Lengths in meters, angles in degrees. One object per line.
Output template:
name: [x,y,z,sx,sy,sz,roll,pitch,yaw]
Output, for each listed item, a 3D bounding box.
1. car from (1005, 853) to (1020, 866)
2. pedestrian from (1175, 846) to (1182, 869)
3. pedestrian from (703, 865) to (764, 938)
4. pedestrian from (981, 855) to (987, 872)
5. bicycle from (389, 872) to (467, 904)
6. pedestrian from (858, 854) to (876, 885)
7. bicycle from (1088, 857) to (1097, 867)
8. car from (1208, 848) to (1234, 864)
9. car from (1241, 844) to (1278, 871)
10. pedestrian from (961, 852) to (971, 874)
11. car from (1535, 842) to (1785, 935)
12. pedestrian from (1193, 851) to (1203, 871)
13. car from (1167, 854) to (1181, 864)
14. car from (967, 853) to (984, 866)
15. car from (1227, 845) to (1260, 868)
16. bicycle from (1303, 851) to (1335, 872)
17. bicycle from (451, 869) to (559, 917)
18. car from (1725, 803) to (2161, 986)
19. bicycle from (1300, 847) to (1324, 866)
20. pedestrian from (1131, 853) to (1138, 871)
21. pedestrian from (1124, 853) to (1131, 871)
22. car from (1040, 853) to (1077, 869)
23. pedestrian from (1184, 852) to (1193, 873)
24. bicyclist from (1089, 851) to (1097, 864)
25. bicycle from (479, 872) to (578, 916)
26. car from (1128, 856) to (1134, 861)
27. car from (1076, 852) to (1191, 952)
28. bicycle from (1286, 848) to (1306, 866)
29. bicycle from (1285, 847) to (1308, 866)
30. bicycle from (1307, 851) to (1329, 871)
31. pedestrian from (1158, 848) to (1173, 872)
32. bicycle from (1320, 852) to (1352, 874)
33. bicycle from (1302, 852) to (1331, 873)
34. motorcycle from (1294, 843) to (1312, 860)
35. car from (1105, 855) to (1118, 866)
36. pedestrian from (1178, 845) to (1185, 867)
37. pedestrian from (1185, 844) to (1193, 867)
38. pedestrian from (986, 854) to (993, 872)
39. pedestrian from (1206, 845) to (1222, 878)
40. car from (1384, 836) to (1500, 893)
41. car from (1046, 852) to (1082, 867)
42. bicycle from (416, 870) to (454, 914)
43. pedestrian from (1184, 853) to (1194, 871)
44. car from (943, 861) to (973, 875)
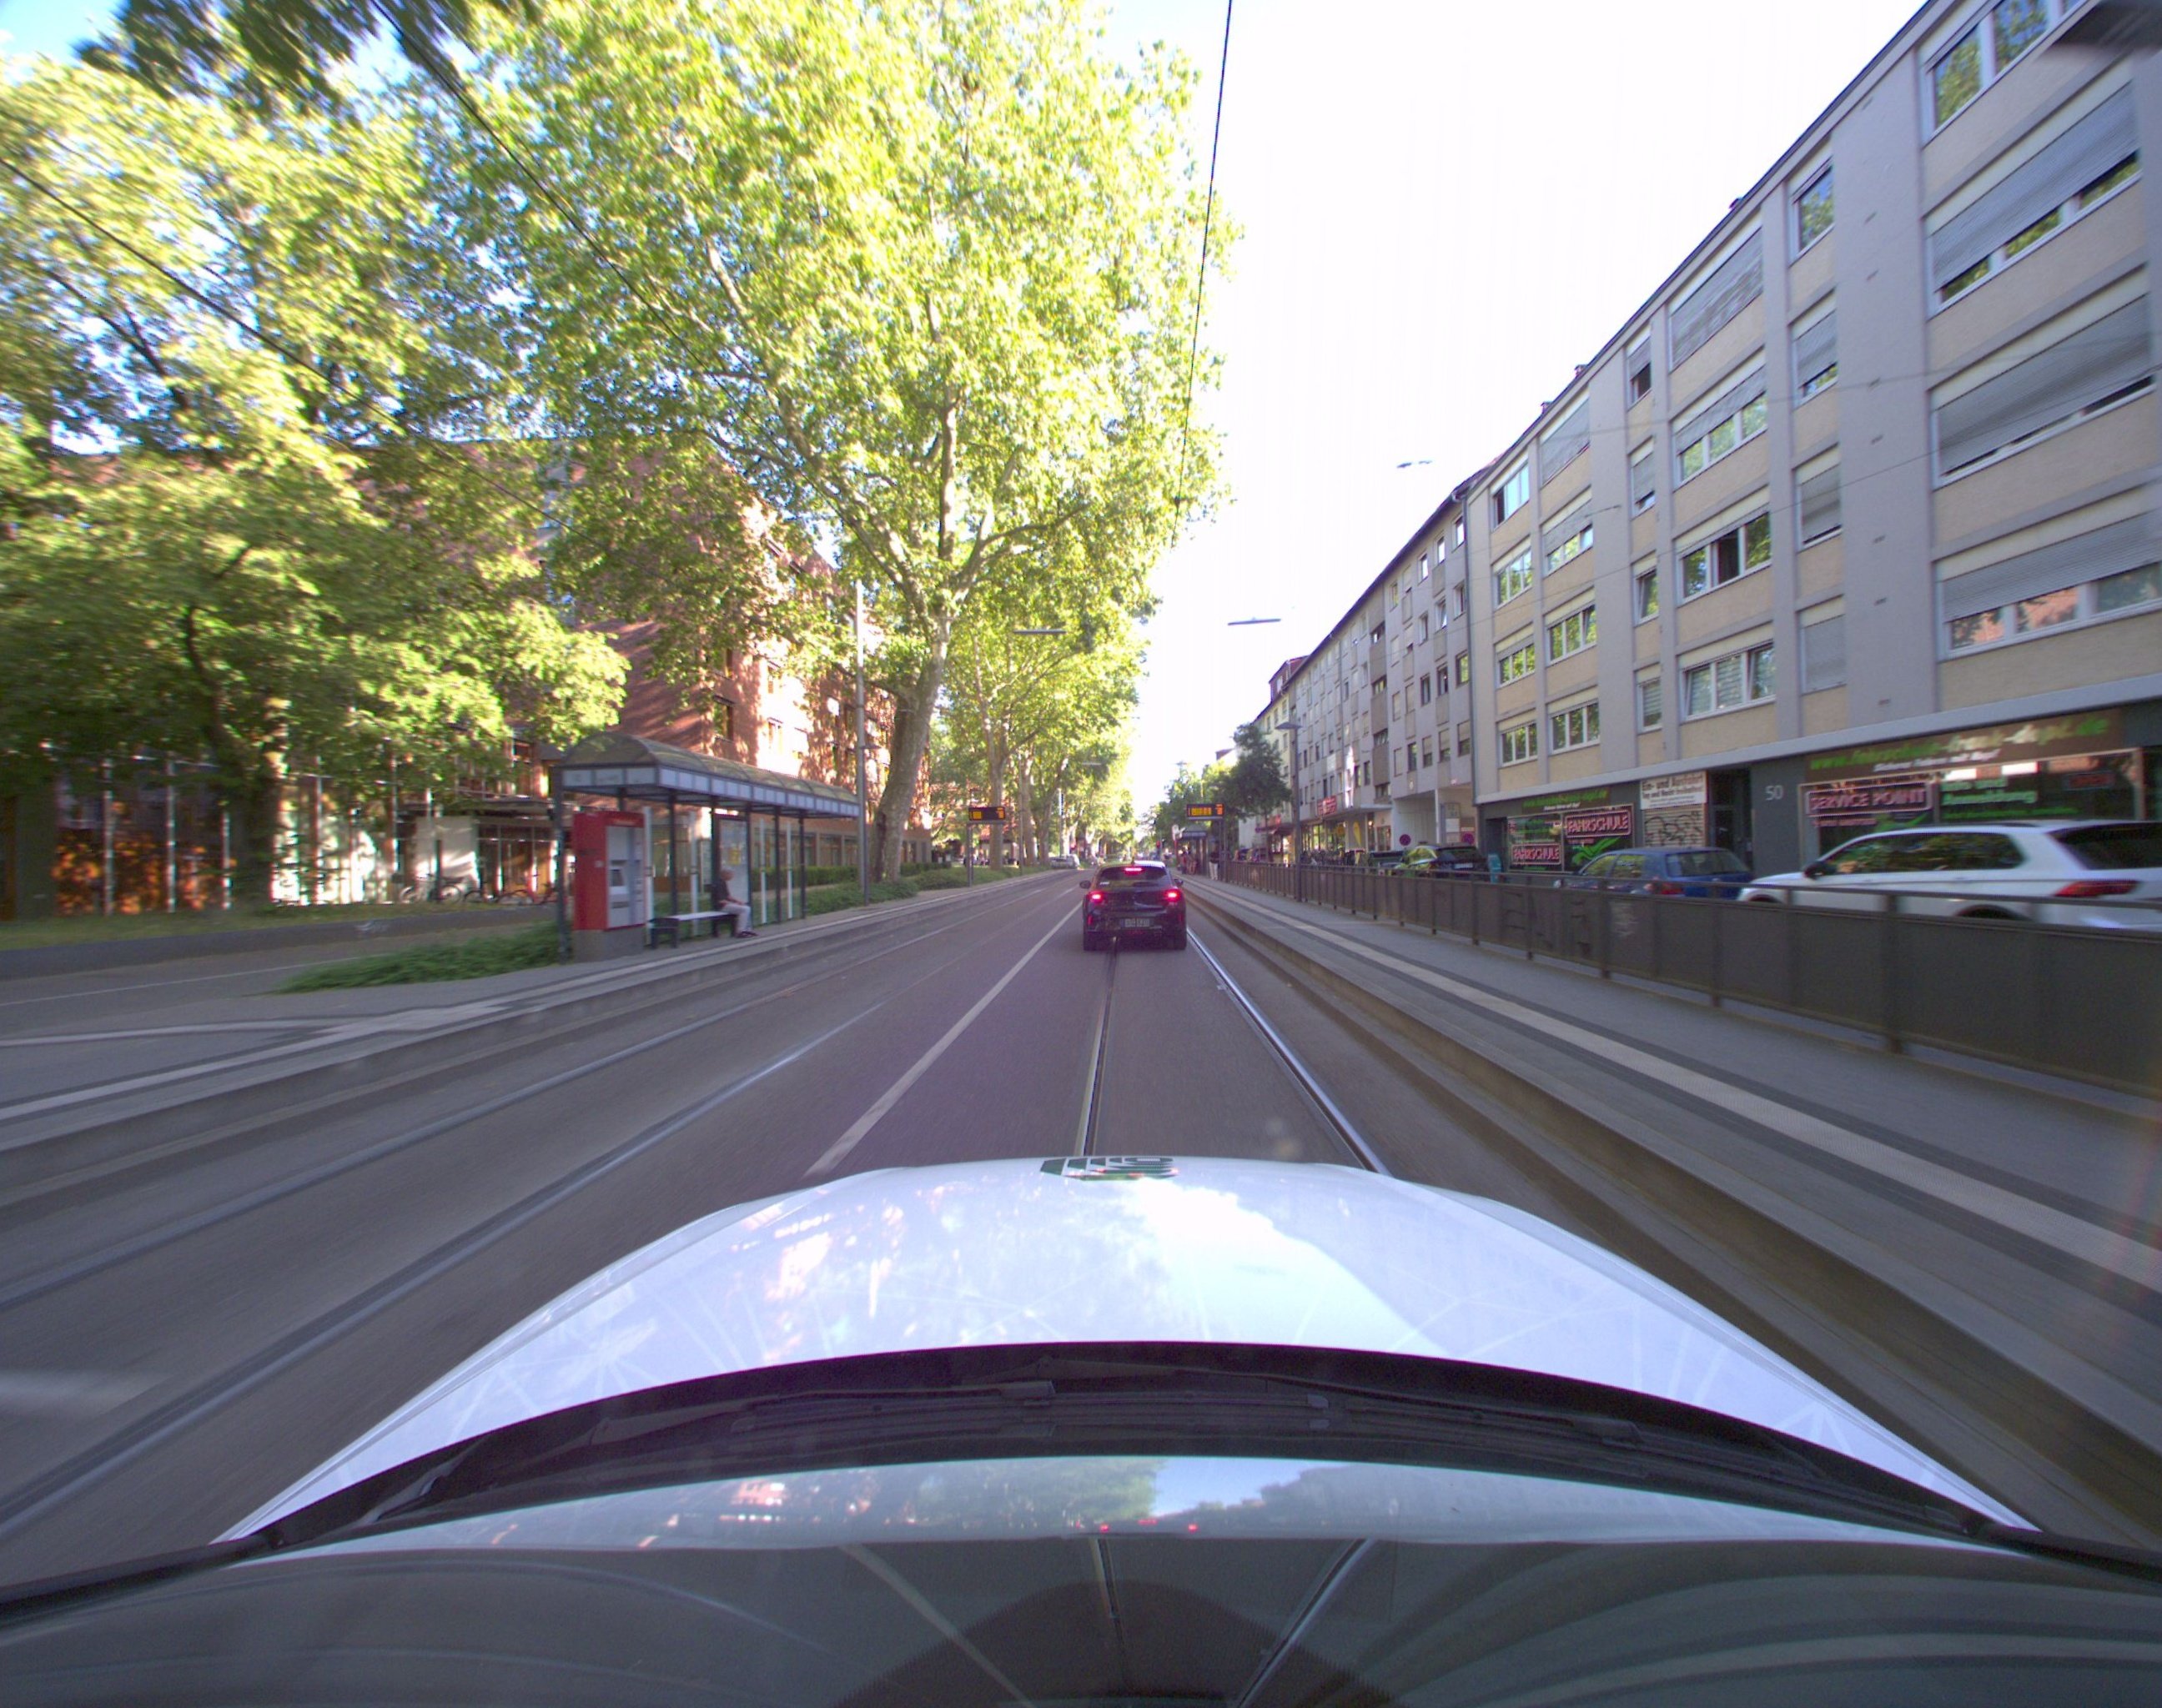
car: [-11.276,0.919,134.763,1.985,2.014,4.003,0,-1,3]
pedestrian: [7.498,0.256,62.441,0.528,1.709,0.753,-1,-1,5]
pedestrian: [-5.852,0.789,13.731,0.703,1.168,0.659,-2,-1,0]
pedestrian: [-10.968,1.078,92.238,0.670,1.950,0.498,1,0,0]
bicycle: [-22.428,1.155,28.022,1.942,1.073,0.761,0,-1,-14]
pedestrian: [-11.653,0.841,44.380,0.732,1.672,0.861,0,-1,3]
bicycle: [1.477,1.041,105.762,0.950,1.240,2.983,-1,-1,6]
car: [13.447,0.238,78.476,1.985,1.486,4.003,0,-1,3]
car: [13.035,0.270,59.552,1.985,1.952,4.002,0,-1,2]
pedestrian: [-10.445,0.797,73.990,0.665,1.950,0.501,1,0,40]
car: [10.241,0.559,14.875,1.736,1.440,4.250,0,-1,3]
pedestrian: [7.150,0.417,49.948,0.532,1.230,0.510,0,-1,-1]
car: [14.798,0.815,130.213,1.985,1.632,4.003,0,-1,3]
car: [-17.436,0.936,134.648,1.985,2.014,4.003,0,-1,3]
car: [13.181,0.231,66.190,1.985,1.797,4.002,0,-1,2]
bicycle: [13.544,0.431,46.438,0.611,1.136,2.913,0,-1,-8]
bicycle: [-15.543,1.041,21.993,2.447,1.219,0.682,1,-1,3]
car: [9.919,0.370,9.314,1.792,1.606,4.419,0,-1,3]
bicycle: [14.055,0.167,49.620,0.597,1.136,2.198,0,-1,-8]
pedestrian: [6.110,0.901,93.092,0.670,2.013,0.704,1,0,15]
pedestrian: [5.297,0.903,93.259,0.671,2.013,0.703,1,0,9]
car: [-2.502,0.745,90.196,4.106,1.701,1.881,0,-1,-4]
pedestrian: [6.741,0.512,51.151,0.501,1.304,0.428,0,-1,-1]
bicyclist: [1.576,0.517,106.668,0.936,1.703,1.155,-1,-1,6]
bicycle: [-15.342,1.097,22.635,2.330,1.166,0.682,0,-1,3]
car: [15.551,1.354,252.493,1.739,1.544,4.001,0,-1,2]
car: [0.856,0.766,14.534,1.753,1.508,3.683,-2,-1,1]
bicycle: [13.729,0.192,52.007,0.596,1.136,2.202,0,-1,-2]
bicycle: [13.408,0.182,50.663,0.597,1.136,2.198,0,-1,-8]
bicycle: [13.907,0.437,47.805,0.410,1.136,2.198,0,-1,-8]
pedestrian: [6.083,0.431,58.467,0.742,1.709,0.768,-1,-1,38]
bicycle: [13.360,0.472,42.750,0.621,1.136,2.432,0,-1,-8]
bicycle: [13.059,0.480,45.219,0.602,1.136,2.428,0,-1,-8]
motorcycle: [16.338,-0.170,60.034,0.888,1.280,2.045,0,-1,3]
car: [4.226,0.928,114.016,1.739,1.544,4.001,0,-1,2]
pedestrian: [7.925,0.180,64.100,0.528,1.709,0.597,-1,-1,5]
pedestrian: [8.372,0.136,63.163,0.528,1.763,0.662,-1,-1,5]
pedestrian: [-10.282,0.988,91.392,0.670,1.950,0.498,1,0,0]
pedestrian: [6.418,0.346,39.374,0.628,1.576,0.871,1,0,3]
car: [11.061,0.313,25.310,1.849,1.615,4.401,0,-1,3]
car: [-2.183,0.660,101.568,4.376,1.851,1.997,0,-1,-4]
bicycle: [-18.588,1.061,23.430,1.482,1.219,0.686,-1,-1,45]
pedestrian: [6.714,0.476,50.546,0.532,1.099,0.550,0,-1,-1]
car: [-19.149,2.182,126.877,4.232,2.014,2.001,0,-1,3]
